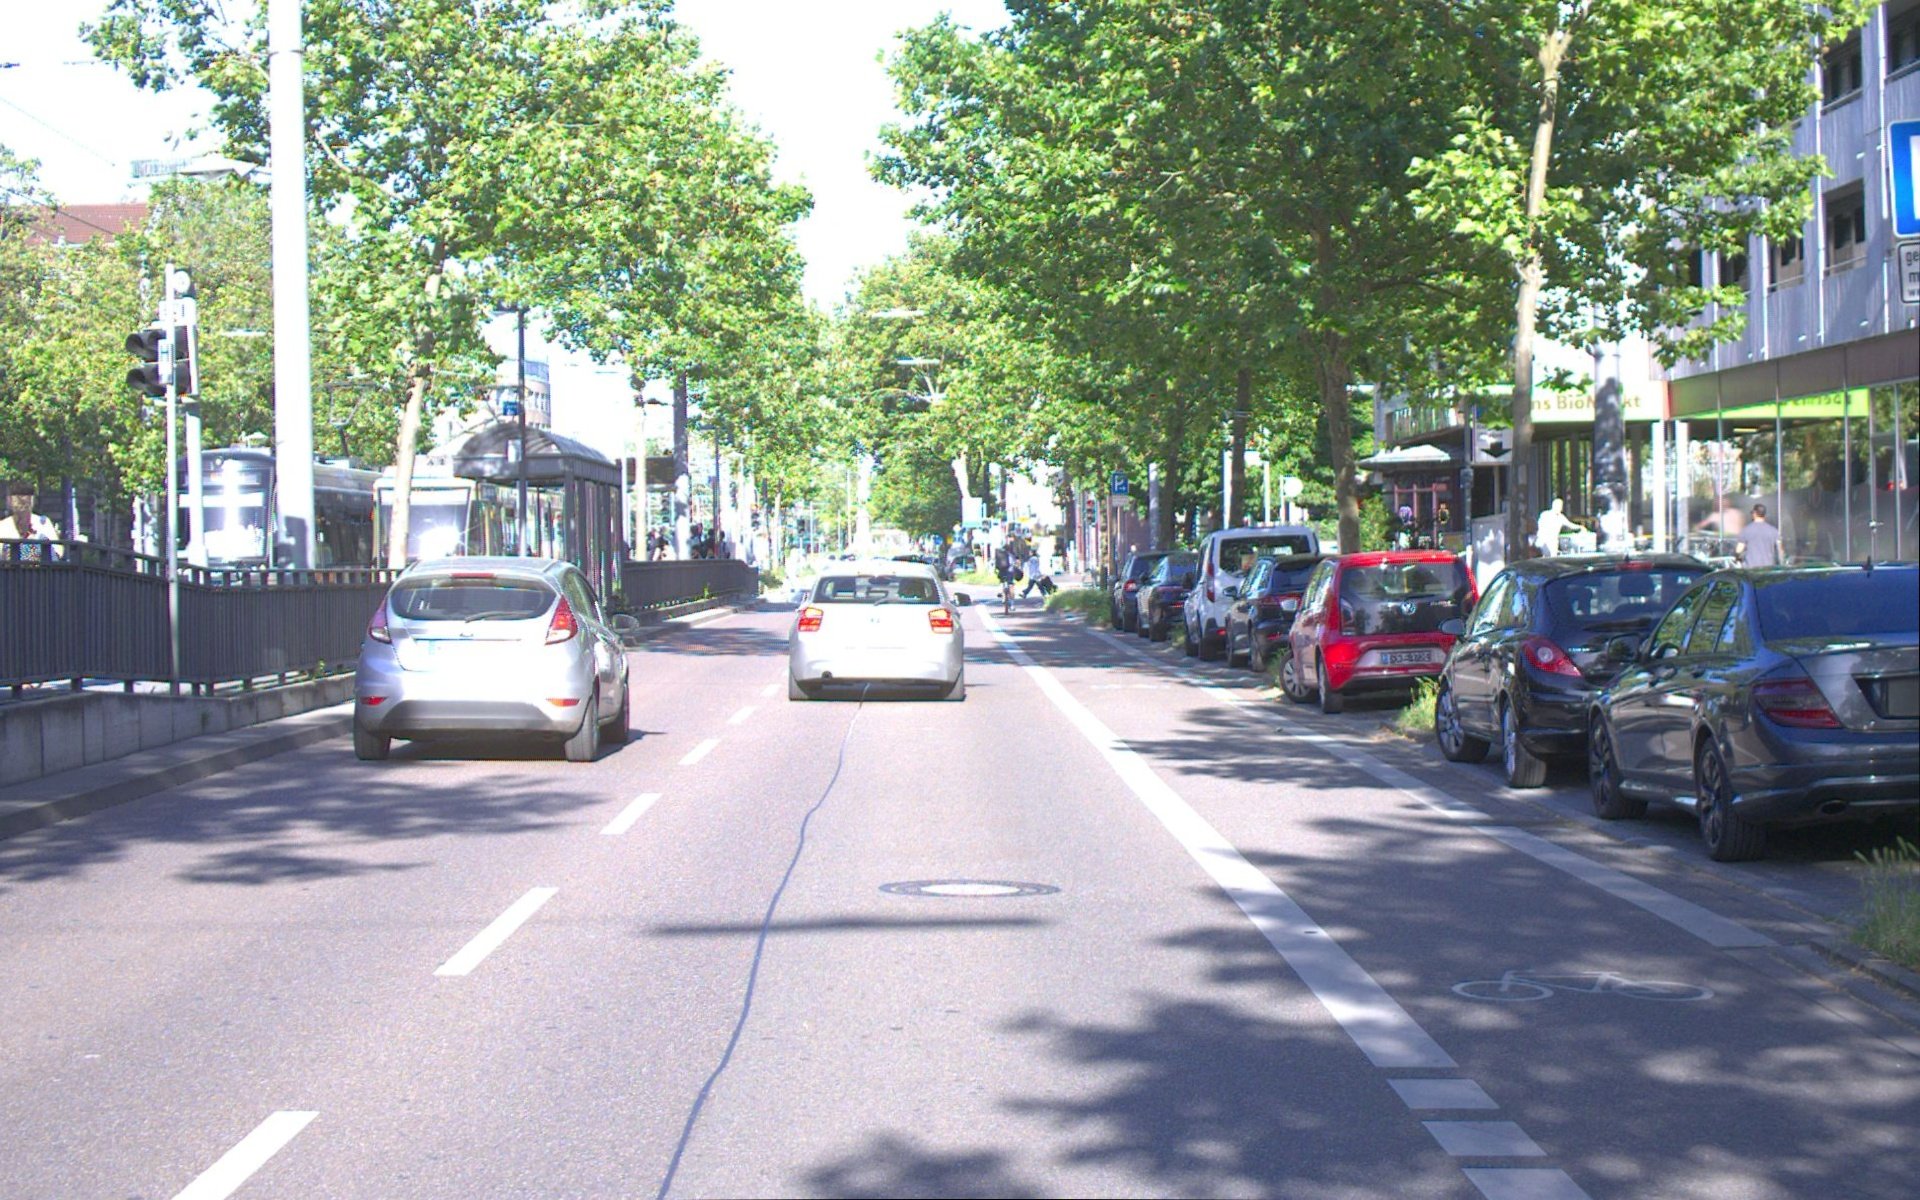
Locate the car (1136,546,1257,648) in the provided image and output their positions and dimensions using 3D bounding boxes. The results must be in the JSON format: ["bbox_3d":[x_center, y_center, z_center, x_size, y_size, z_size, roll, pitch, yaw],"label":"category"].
[{"bbox_3d":[3.936,-0.080,57.660,1.711,1.557,4.000,1,2,0],"label":"car"}]

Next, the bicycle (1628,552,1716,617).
[{"bbox_3d":[11.750,-0.257,56.729,1.383,1.052,0.243,1,1,-1],"label":"bicycle"}]

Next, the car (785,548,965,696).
[{"bbox_3d":[-0.878,0.189,35.901,1.762,1.427,4.000,1,1,-1],"label":"car"}]

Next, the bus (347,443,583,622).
[{"bbox_3d":[-11.107,-1.594,79.448,2.750,3.613,18.848,0,1,0],"label":"bus"}]

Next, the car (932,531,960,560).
[{"bbox_3d":[-0.991,-3.896,246.375,1.993,2.007,4.000,1,2,0],"label":"car"}]

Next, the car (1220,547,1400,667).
[{"bbox_3d":[4.284,0.063,42.596,1.781,1.376,4.000,1,0,0],"label":"car"}]

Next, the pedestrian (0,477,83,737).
[{"bbox_3d":[-7.145,0.039,26.309,0.639,1.947,0.814,1,1,0],"label":"pedestrian"}]

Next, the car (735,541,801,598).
[{"bbox_3d":[-6.463,-1.057,116.038,1.993,1.810,4.000,1,2,0],"label":"car"}]

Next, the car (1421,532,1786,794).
[{"bbox_3d":[4.226,0.348,23.151,1.669,1.546,4.000,1,2,0],"label":"car"}]

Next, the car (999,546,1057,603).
[{"bbox_3d":[2.228,-0.864,113.893,1.809,1.785,3.911,1,2,0],"label":"car"}]

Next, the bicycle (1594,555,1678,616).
[{"bbox_3d":[11.637,-0.247,59.176,1.383,1.009,0.243,1,1,-1],"label":"bicycle"}]

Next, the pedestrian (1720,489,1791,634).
[{"bbox_3d":[11.115,-0.539,48.035,0.788,2.007,0.891,0,1,0],"label":"pedestrian"}]

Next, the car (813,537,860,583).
[{"bbox_3d":[-5.666,-1.832,157.906,1.993,2.007,4.000,1,2,0],"label":"car"}]

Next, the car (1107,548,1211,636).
[{"bbox_3d":[3.728,-0.171,64.888,1.700,1.529,3.717,1,2,0],"label":"car"}]

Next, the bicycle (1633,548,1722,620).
[{"bbox_3d":[11.778,-0.261,56.445,1.383,1.144,0.243,1,1,-1],"label":"bicycle"}]

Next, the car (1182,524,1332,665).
[{"bbox_3d":[4.149,-0.110,48.576,1.724,1.874,4.000,1,1,0],"label":"car"}]

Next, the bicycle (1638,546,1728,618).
[{"bbox_3d":[11.794,-0.299,56.101,1.383,1.144,0.243,1,1,-1],"label":"bicycle"}]

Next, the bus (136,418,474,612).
[{"bbox_3d":[-14.053,-1.881,76.928,2.869,3.616,24.605,0,1,0],"label":"bus"}]

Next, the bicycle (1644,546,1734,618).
[{"bbox_3d":[11.821,-0.290,55.732,1.383,1.144,0.243,1,1,-1],"label":"bicycle"}]

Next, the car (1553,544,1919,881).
[{"bbox_3d":[4.484,0.504,17.809,1.993,1.504,4.598,1,0,0],"label":"car"}]

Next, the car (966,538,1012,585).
[{"bbox_3d":[1.304,-1.751,155.671,1.993,2.007,4.000,1,2,0],"label":"car"}]

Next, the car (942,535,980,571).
[{"bbox_3d":[0.055,-2.658,194.446,2.071,2.007,4.000,0,1,0],"label":"car"}]

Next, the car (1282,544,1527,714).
[{"bbox_3d":[4.223,0.244,33.209,1.806,1.515,4.000,1,1,0],"label":"car"}]

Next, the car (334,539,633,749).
[{"bbox_3d":[-3.412,0.264,25.212,1.646,1.358,3.760,1,2,0],"label":"car"}]

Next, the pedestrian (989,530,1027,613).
[{"bbox_3d":[1.174,-0.707,83.890,0.838,2.007,0.648,1,1,7],"label":"pedestrian"}]

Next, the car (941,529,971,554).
[{"bbox_3d":[-0.239,-3.935,231.248,1.993,1.692,4.000,0,1,0],"label":"car"}]

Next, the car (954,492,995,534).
[{"bbox_3d":[0.751,-4.582,182.190,1.993,2.007,4.000,-3,0,-1],"label":"car"}]

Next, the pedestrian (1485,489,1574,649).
[{"bbox_3d":[7.263,-0.401,43.871,0.963,2.007,0.938,0,1,0],"label":"pedestrian"}]

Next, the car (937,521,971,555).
[{"bbox_3d":[-0.369,-3.789,210.656,1.993,2.007,4.000,1,2,0],"label":"car"}]

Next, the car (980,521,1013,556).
[{"bbox_3d":[2.180,-3.672,205.226,1.875,2.007,3.711,1,2,0],"label":"car"}]
